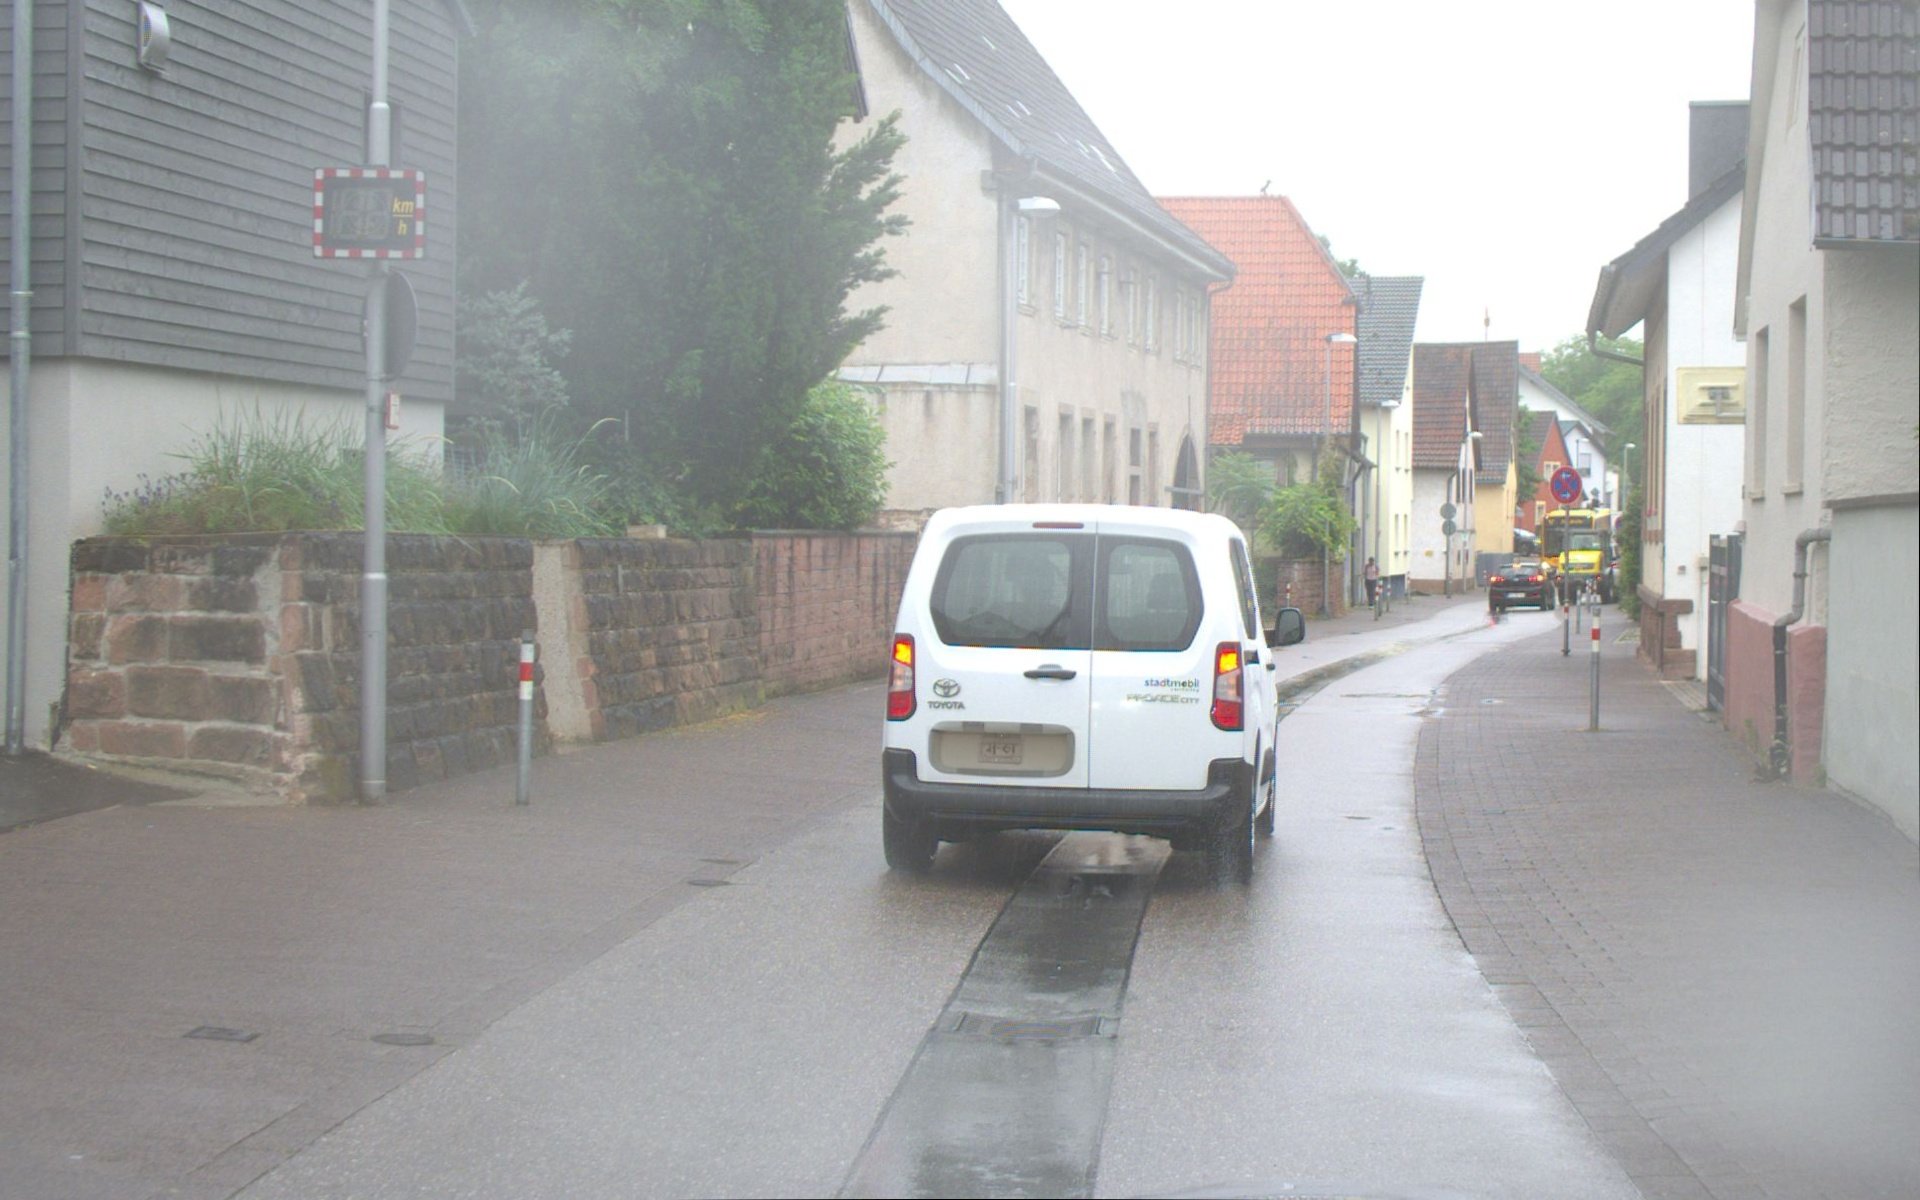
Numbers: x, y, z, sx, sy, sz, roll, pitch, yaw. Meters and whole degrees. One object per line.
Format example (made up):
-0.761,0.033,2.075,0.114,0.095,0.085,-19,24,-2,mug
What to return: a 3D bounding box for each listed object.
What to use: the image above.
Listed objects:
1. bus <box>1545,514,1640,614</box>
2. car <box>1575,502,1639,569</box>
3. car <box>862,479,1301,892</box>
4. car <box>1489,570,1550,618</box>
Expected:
21.613,-1.185,117.247,2.795,3.169,8.173,3,1,12,bus
20.708,-2.048,109.943,1.828,2.007,3.692,2,0,12,car
0.750,0.381,17.727,1.795,1.812,4.100,2,0,8,car
17.079,-0.184,104.918,1.562,1.367,3.583,2,1,13,car
